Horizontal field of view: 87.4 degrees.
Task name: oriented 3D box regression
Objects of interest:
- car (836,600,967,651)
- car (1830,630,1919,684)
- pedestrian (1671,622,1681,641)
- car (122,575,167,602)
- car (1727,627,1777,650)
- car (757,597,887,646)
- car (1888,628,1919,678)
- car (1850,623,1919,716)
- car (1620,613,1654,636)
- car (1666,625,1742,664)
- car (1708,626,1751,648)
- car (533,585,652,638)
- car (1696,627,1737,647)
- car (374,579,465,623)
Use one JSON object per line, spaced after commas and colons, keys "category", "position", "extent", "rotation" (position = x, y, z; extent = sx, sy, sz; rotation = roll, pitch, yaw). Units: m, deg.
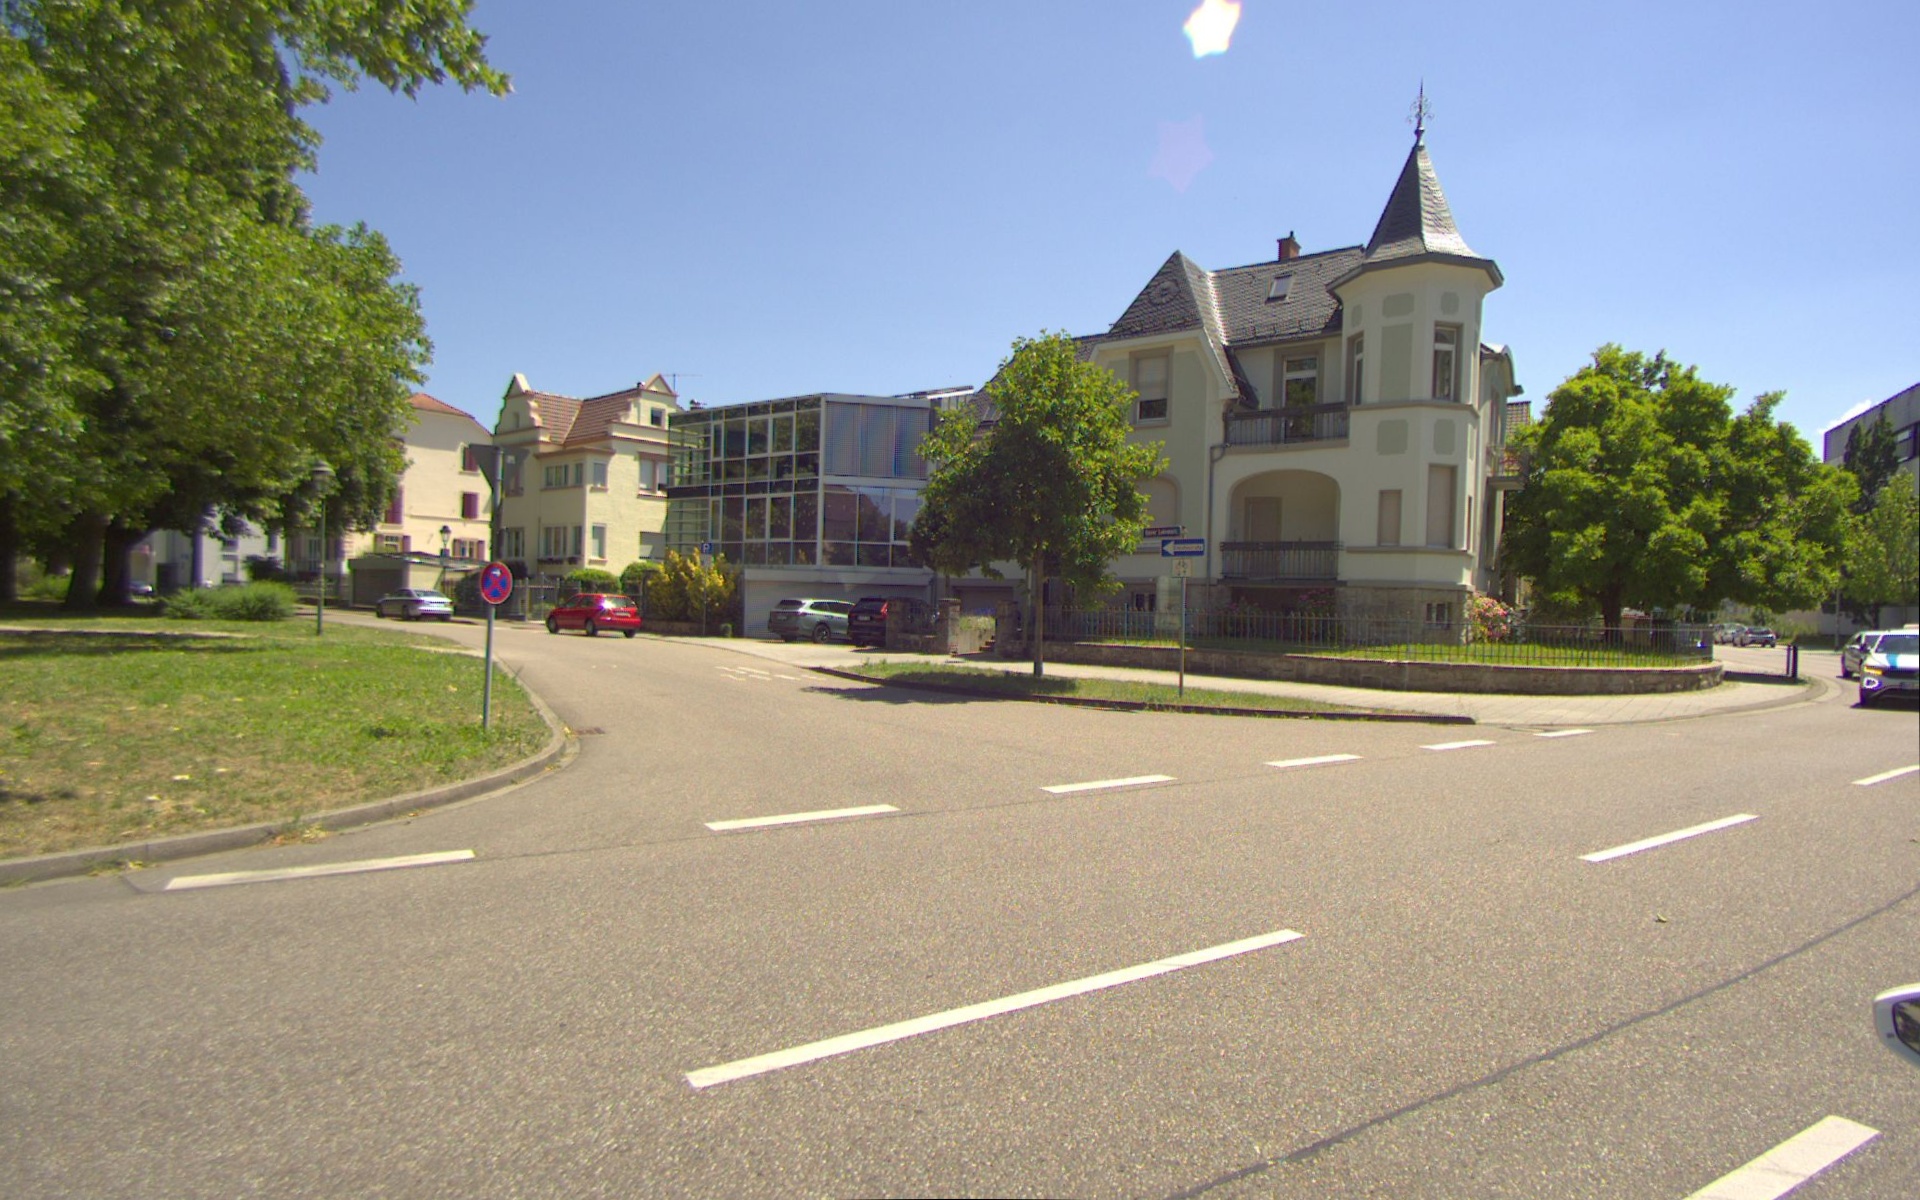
{"category": "car", "position": [-1.843, 0.805, 32.533], "extent": [1.971, 1.445, 3.979], "rotation": [3, 1, 42]}
{"category": "car", "position": [27.431, 1.631, 29.444], "extent": [1.730, 1.454, 4.301], "rotation": [0, -1, 24]}
{"category": "pedestrian", "position": [68.493, 3.034, 96.123], "extent": [0.627, 1.782, 0.617], "rotation": [2, 0, 23]}
{"category": "car", "position": [-57.162, -0.810, 70.380], "extent": [4.445, 1.802, 1.988], "rotation": [2, 0, 45]}
{"category": "car", "position": [53.266, 2.575, 67.607], "extent": [1.834, 1.391, 3.995], "rotation": [2, 0, 27]}
{"category": "car", "position": [-4.548, 0.699, 33.494], "extent": [1.855, 1.454, 3.976], "rotation": [3, 1, 43]}
{"category": "car", "position": [33.682, 1.777, 34.106], "extent": [1.908, 1.635, 4.466], "rotation": [-6, -4, 27]}
{"category": "car", "position": [19.585, 1.368, 20.532], "extent": [1.853, 1.645, 4.277], "rotation": [2, 1, 44]}
{"category": "car", "position": [65.824, 2.373, 97.728], "extent": [2.037, 2.226, 5.133], "rotation": [0, -1, 25]}
{"category": "car", "position": [33.218, 1.941, 44.976], "extent": [1.896, 1.455, 4.653], "rotation": [5, 1, 27]}
{"category": "car", "position": [55.739, 2.666, 72.810], "extent": [1.633, 1.508, 4.341], "rotation": [0, -1, 26]}
{"category": "car", "position": [-12.735, 0.373, 34.719], "extent": [4.440, 1.640, 1.990], "rotation": [2, 0, 42]}
{"category": "car", "position": [57.974, 2.794, 76.999], "extent": [1.699, 1.401, 4.397], "rotation": [0, -1, 26]}
{"category": "car", "position": [-23.999, 0.030, 44.548], "extent": [4.436, 1.802, 1.992], "rotation": [2, 0, 39]}
